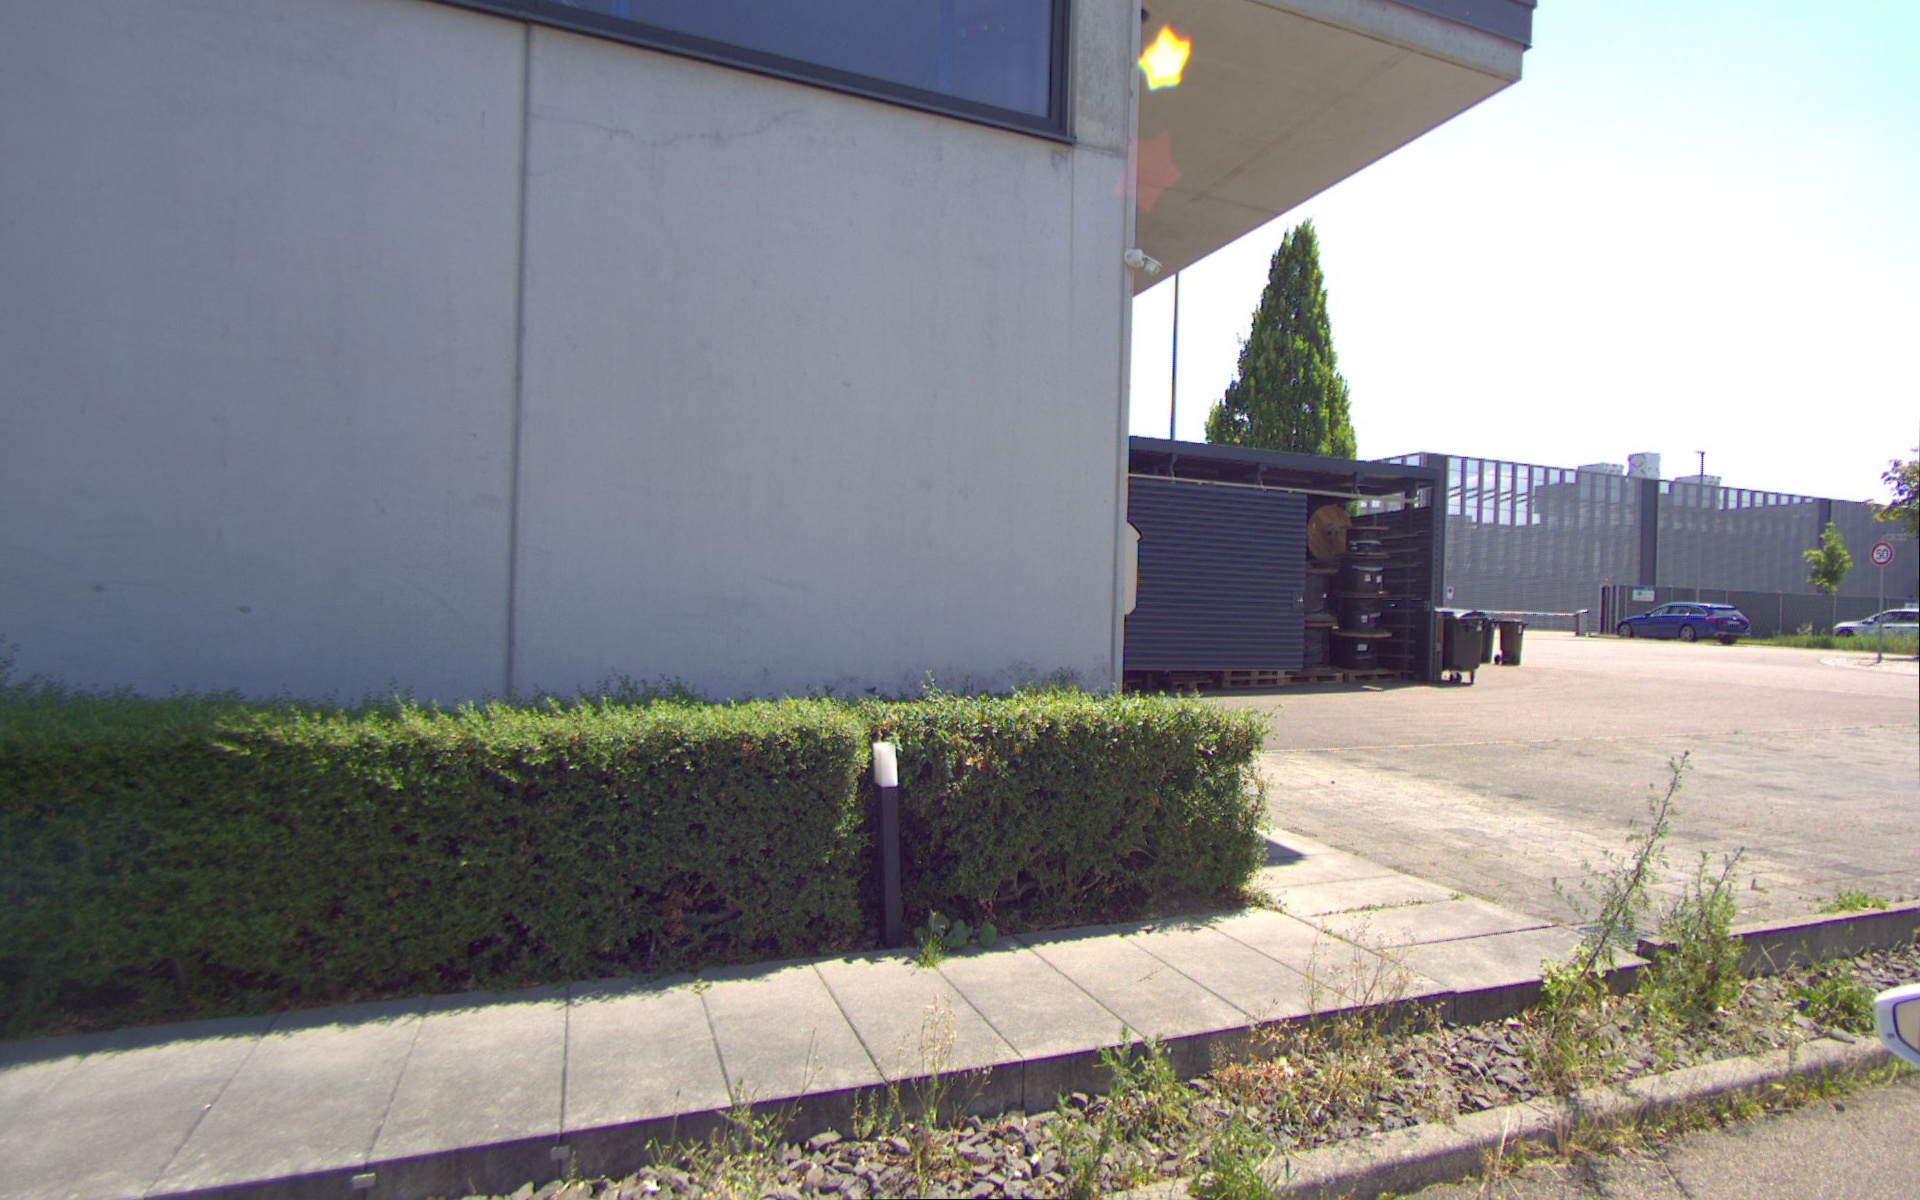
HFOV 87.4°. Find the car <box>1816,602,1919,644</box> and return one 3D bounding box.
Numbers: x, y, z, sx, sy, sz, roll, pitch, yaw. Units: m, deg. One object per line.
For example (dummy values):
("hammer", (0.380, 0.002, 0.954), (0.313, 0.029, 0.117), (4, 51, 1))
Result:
("car", (36.471, 0.874, 39.006), (1.963, 1.512, 4.848), (0, 1, -7))

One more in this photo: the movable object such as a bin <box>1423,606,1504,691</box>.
("movable object such as a bin", (8.418, 0.800, 16.817), (0.870, 1.362, 0.811), (1, 0, -16))

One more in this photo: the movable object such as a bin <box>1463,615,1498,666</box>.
("movable object such as a bin", (10.894, 0.846, 21.027), (0.572, 1.041, 0.424), (1, 0, 36))

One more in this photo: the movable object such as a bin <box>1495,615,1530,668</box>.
("movable object such as a bin", (11.366, 0.847, 20.675), (0.569, 1.050, 0.424), (1, 0, 36))

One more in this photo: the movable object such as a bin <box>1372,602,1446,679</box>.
("movable object such as a bin", (8.075, 0.720, 18.080), (0.957, 1.347, 0.707), (1, 0, -16))

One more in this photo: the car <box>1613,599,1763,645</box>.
("car", (26.950, 0.778, 37.412), (1.963, 1.512, 4.509), (0, 1, -7))
